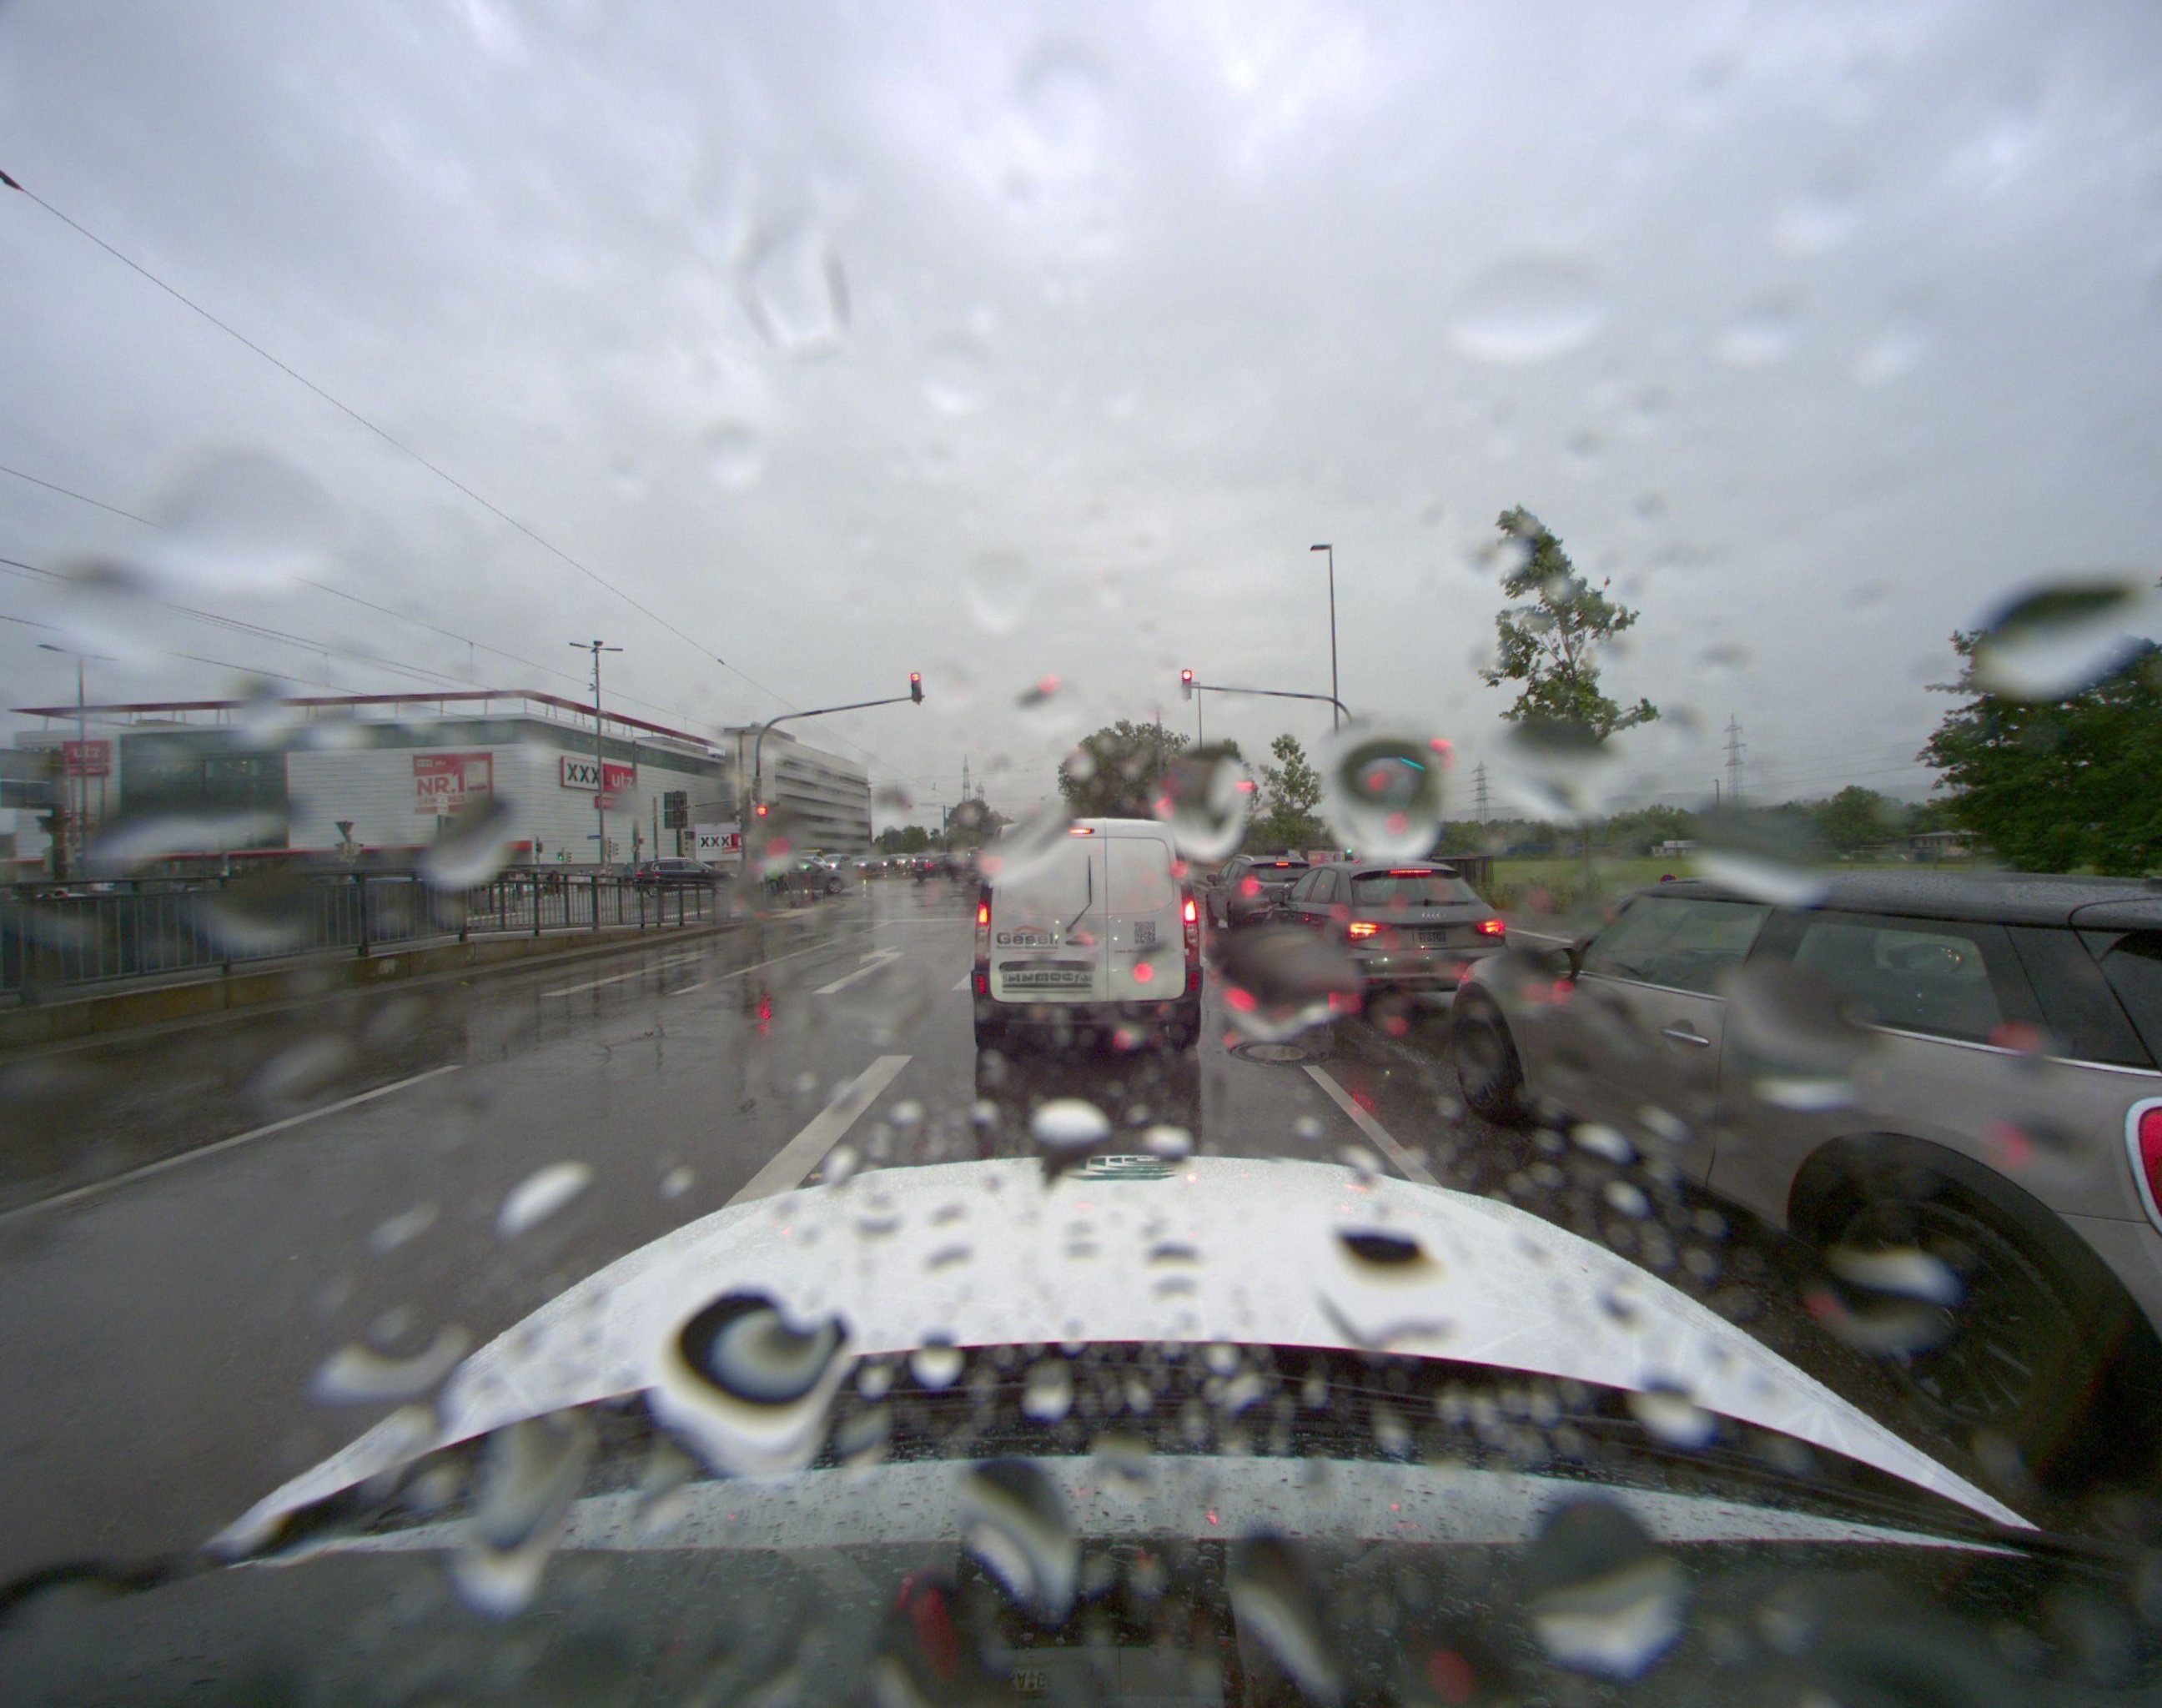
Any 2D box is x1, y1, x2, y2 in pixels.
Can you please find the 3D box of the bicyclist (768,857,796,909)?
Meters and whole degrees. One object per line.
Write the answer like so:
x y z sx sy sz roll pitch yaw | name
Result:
-8.735 0.820 23.778 0.608 1.491 0.593 0 -1 -39 | bicyclist

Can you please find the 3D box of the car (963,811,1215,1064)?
0.008 0.556 7.805 1.749 1.750 4.166 -1 1 -2 | car

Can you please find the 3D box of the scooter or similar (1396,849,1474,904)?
8.524 0.493 19.759 0.687 1.211 3.022 -2 0 3 | scooter or similar

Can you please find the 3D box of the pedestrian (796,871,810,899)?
-8.825 0.982 25.868 0.314 0.897 0.380 1 0 -1 | pedestrian

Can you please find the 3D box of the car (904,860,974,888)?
-7.644 1.101 44.083 1.630 1.398 3.475 2 0 40 | car

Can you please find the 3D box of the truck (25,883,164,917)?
-60.212 2.775 49.783 5.859 1.942 2.012 1 -1 0 | truck

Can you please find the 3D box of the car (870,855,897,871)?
-18.870 0.859 78.029 1.554 1.426 3.570 1 -1 2 | car

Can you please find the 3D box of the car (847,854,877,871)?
-19.044 0.767 70.948 1.554 1.426 3.570 1 -1 2 | car

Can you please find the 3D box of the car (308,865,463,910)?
-24.278 1.169 28.579 3.734 1.507 1.643 1 -1 -13 | car

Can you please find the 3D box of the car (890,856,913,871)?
-18.602 0.997 84.514 1.554 1.426 3.570 1 -1 2 | car

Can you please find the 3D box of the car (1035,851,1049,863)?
-5.669 0.479 119.249 1.942 1.662 4.461 1 -1 -1 | car

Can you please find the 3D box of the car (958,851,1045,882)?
-3.790 0.621 39.328 3.943 1.398 1.518 2 0 -39 | car

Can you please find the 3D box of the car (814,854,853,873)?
-19.330 0.761 63.715 1.704 1.426 3.810 1 -1 2 | car

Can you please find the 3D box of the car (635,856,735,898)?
-17.337 1.016 35.809 3.802 1.674 1.693 2 0 -25 | car

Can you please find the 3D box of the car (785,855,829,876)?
-19.427 0.799 57.806 1.704 1.426 3.810 1 -1 2 | car

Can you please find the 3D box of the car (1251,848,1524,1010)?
3.080 0.701 8.987 1.592 1.366 3.629 -2 -1 0 | car

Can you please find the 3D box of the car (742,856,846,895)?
-11.469 0.868 32.589 3.801 1.398 1.524 2 0 -24 | car

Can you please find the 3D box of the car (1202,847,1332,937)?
3.403 0.650 15.597 1.678 1.508 3.921 0 0 1 | car

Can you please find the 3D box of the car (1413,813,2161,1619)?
2.948 0.701 3.314 1.696 1.508 3.881 1 0 2 | car

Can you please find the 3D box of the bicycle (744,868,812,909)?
-8.806 0.992 23.718 1.768 1.137 0.514 0 -1 -41 | bicycle

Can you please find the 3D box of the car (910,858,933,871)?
-17.968 1.207 91.842 1.704 1.426 3.810 1 -1 2 | car
